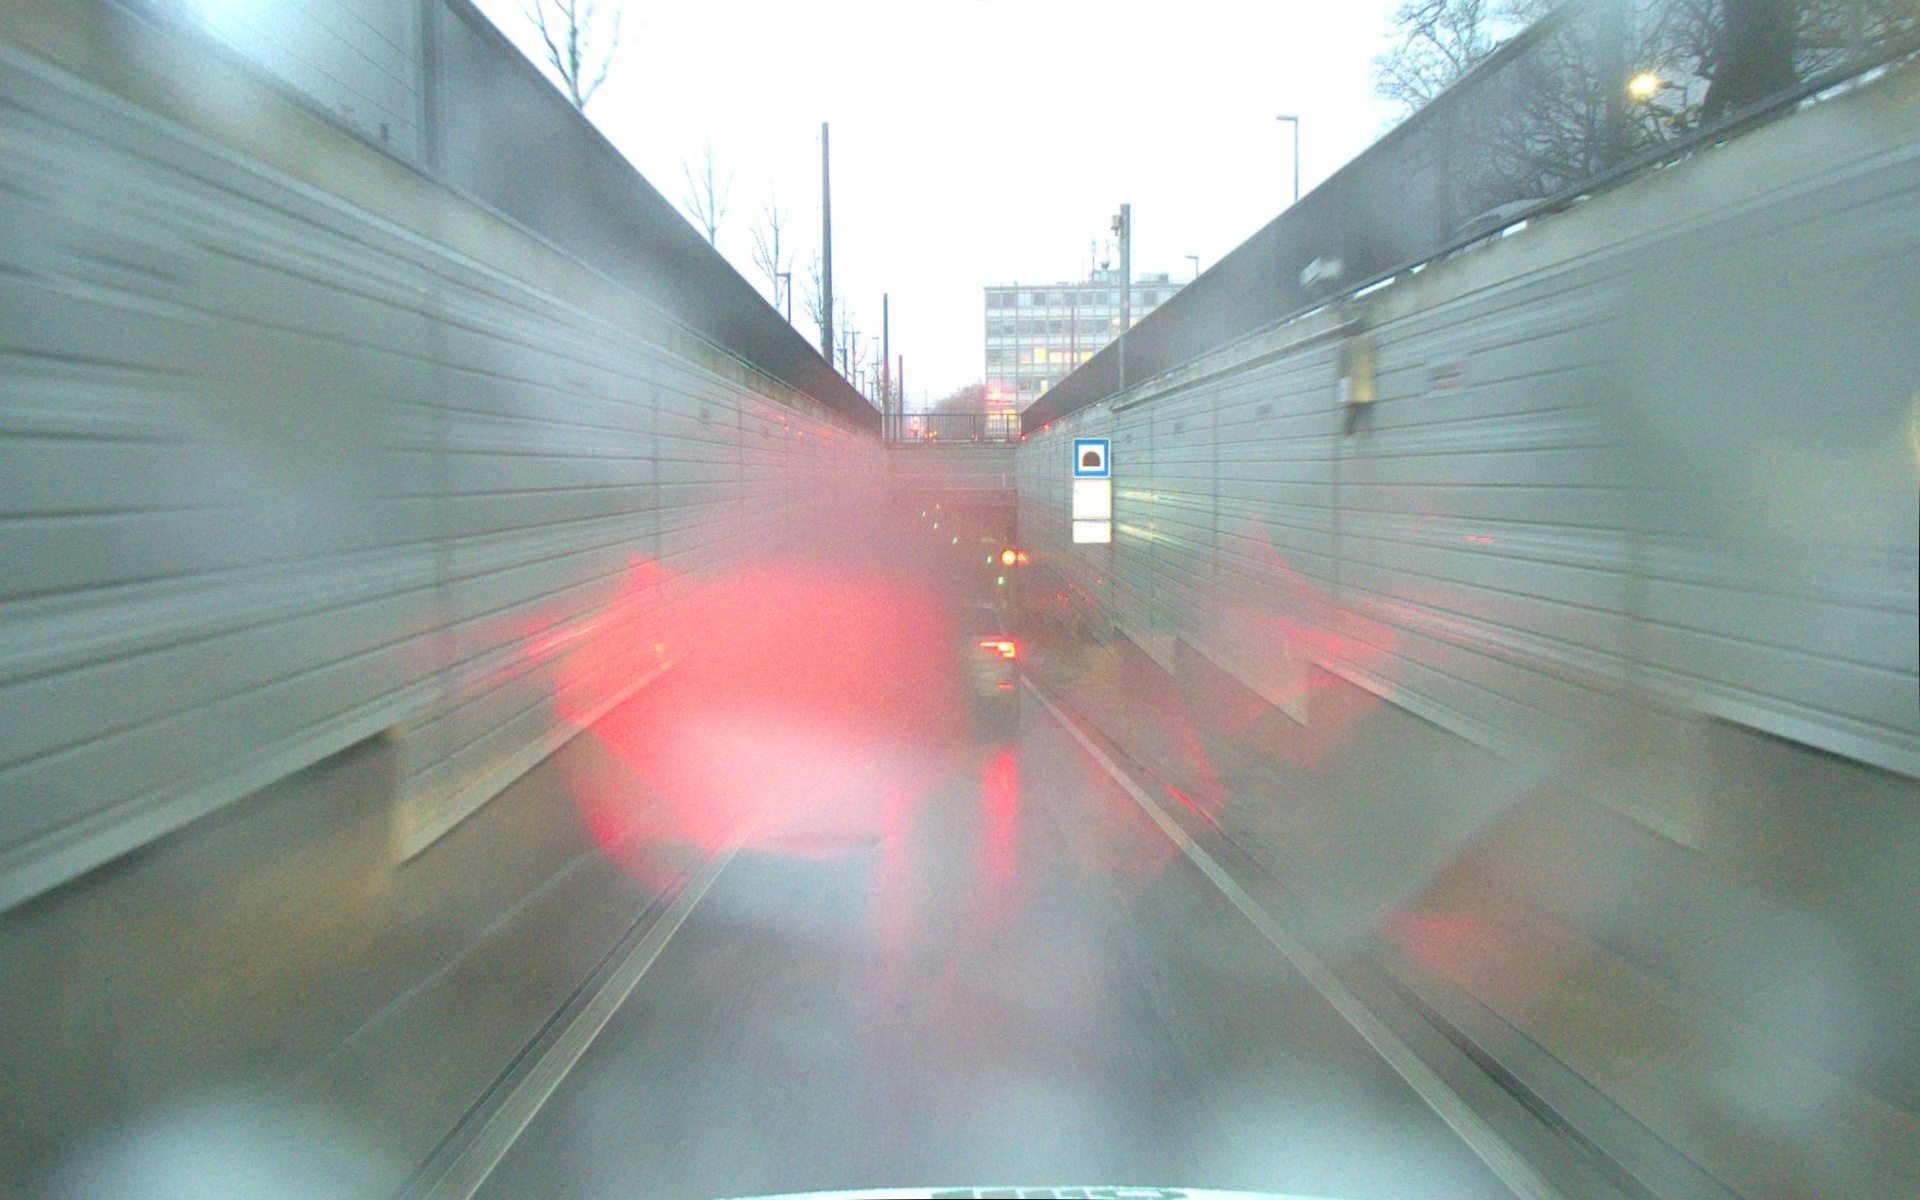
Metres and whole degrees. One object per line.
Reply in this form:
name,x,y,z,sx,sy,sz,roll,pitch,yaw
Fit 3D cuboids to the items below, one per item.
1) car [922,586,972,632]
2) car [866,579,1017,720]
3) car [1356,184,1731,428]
car,-0.555,0.348,66.629,1.881,1.511,4.000,1,4,-2
car,-0.178,0.534,20.866,1.687,1.505,4.001,2,2,1
car,4.580,-2.276,13.646,1.687,1.504,4.002,2,4,1
